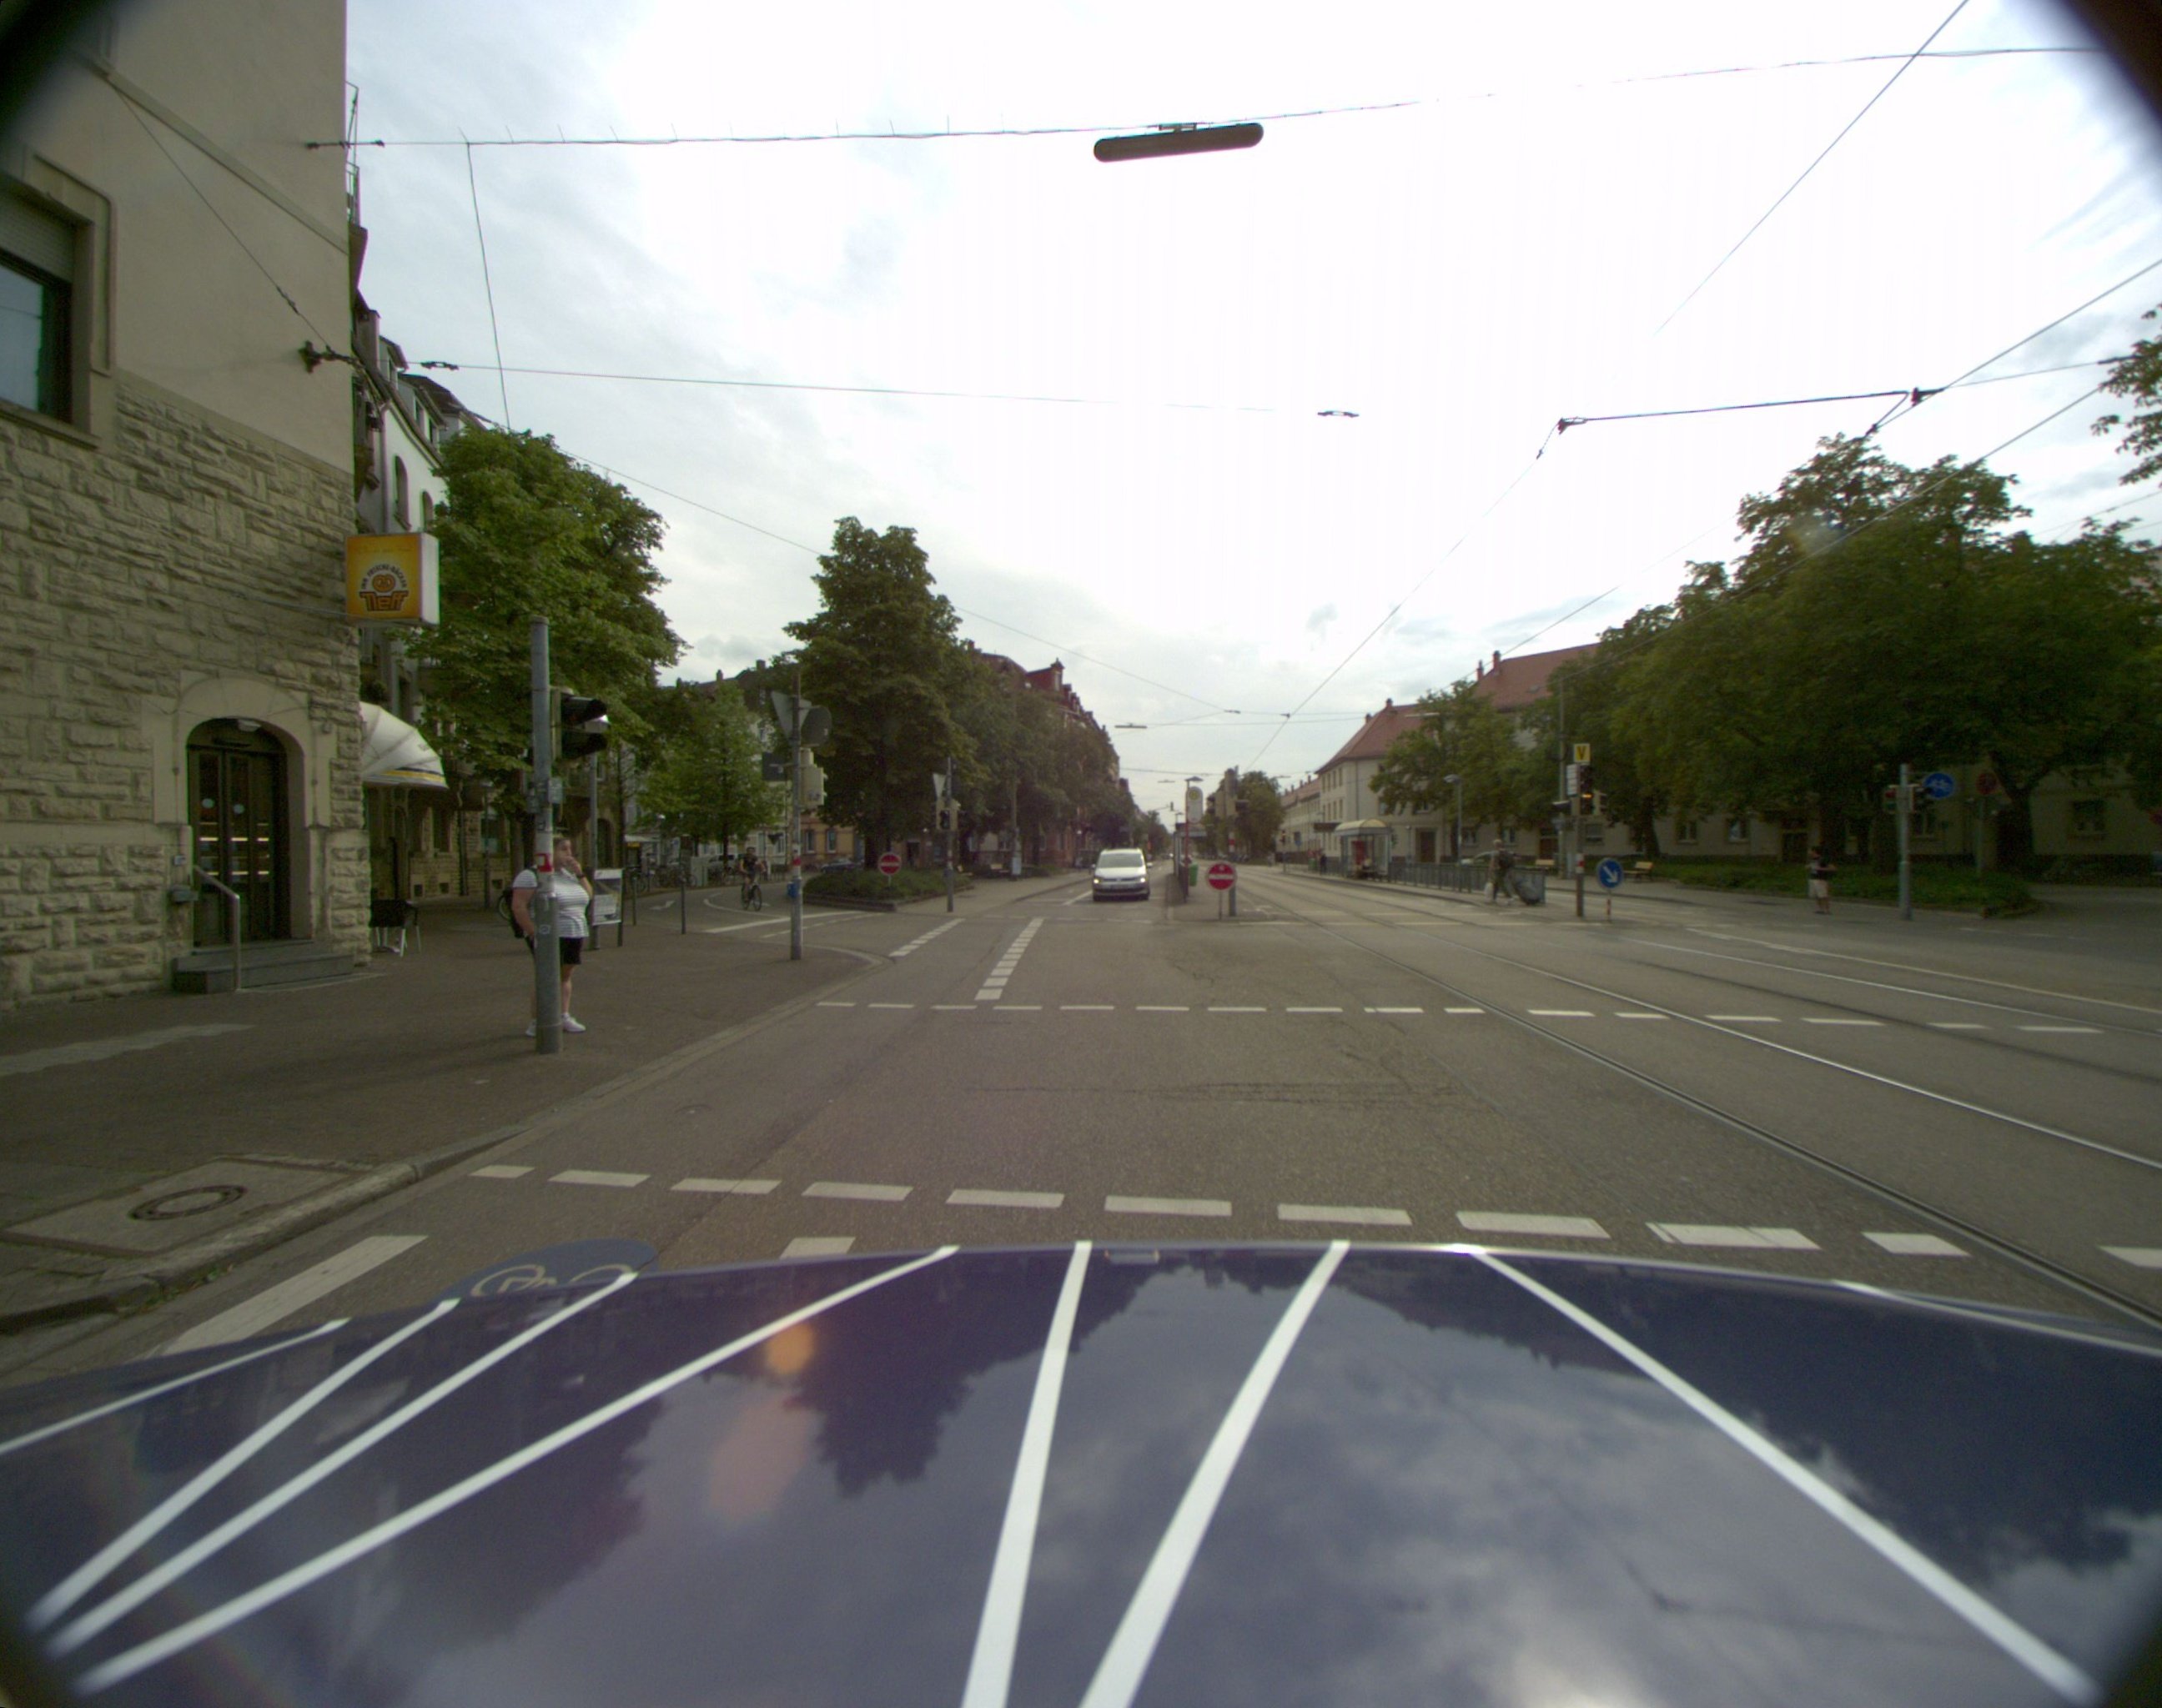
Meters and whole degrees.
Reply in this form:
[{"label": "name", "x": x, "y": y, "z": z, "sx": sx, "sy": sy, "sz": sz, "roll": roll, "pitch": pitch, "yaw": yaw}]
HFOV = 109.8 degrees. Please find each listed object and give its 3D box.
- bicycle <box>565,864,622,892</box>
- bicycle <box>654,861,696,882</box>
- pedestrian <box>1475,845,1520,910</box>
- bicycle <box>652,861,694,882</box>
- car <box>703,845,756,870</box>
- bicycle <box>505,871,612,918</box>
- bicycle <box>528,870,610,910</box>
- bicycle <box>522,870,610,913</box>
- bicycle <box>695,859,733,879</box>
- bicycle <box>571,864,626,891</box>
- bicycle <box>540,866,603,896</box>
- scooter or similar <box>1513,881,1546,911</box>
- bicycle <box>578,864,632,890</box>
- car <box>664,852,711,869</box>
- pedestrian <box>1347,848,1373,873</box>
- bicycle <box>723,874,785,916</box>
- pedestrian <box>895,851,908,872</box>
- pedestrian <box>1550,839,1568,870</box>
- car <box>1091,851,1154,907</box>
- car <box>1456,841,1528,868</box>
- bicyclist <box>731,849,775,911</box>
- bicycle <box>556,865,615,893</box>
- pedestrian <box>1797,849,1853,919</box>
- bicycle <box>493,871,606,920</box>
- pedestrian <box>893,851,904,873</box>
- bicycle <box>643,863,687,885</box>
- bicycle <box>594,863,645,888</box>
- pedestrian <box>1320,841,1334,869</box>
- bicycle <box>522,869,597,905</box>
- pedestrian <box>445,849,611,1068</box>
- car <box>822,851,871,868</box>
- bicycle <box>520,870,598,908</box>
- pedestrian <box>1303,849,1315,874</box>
[{"label": "bicycle", "x": -18.952, "y": 0.935, "z": 29.571, "sx": 1.795, "sy": 1.032, "sz": 0.482, "roll": 0, "pitch": 0, "yaw": -22}, {"label": "bicycle", "x": -20.384, "y": 0.892, "z": 38.136, "sx": 1.793, "sy": 1.032, "sz": 0.482, "roll": -1, "pitch": 0, "yaw": -6}, {"label": "pedestrian", "x": 11.024, "y": 0.613, "z": 20.134, "sx": 0.686, "sy": 1.680, "sz": 0.813, "roll": -1, "pitch": 1, "yaw": -32}, {"label": "bicycle", "x": -20.074, "y": 0.864, "z": 37.400, "sx": 1.793, "sy": 1.032, "sz": 0.482, "roll": -1, "pitch": 0, "yaw": -6}, {"label": "car", "x": -31.491, "y": 0.328, "z": 68.115, "sx": 4.534, "sy": 2.104, "sz": 1.742, "roll": -1, "pitch": 1, "yaw": 25}, {"label": "bicycle", "x": -12.445, "y": 0.933, "z": 18.158, "sx": 0.481, "sy": 1.032, "sz": 2.053, "roll": -1, "pitch": -1, "yaw": 37}, {"label": "bicycle", "x": -14.037, "y": 0.962, "z": 20.852, "sx": 0.481, "sy": 1.032, "sz": 1.797, "roll": -1, "pitch": -1, "yaw": 43}, {"label": "bicycle", "x": -13.147, "y": 0.947, "z": 19.427, "sx": 0.481, "sy": 1.032, "sz": 1.797, "roll": -1, "pitch": -1, "yaw": 43}, {"label": "bicycle", "x": -19.840, "y": 0.810, "z": 41.135, "sx": 1.793, "sy": 1.032, "sz": 0.482, "roll": -1, "pitch": 0, "yaw": -6}, {"label": "bicycle", "x": -19.219, "y": 0.931, "z": 30.317, "sx": 1.795, "sy": 1.032, "sz": 0.482, "roll": 0, "pitch": 0, "yaw": -22}, {"label": "bicycle", "x": -18.045, "y": 0.950, "z": 26.933, "sx": 1.795, "sy": 1.032, "sz": 0.482, "roll": 0, "pitch": 0, "yaw": -22}, {"label": "scooter or similar", "x": 11.570, "y": 1.076, "z": 19.608, "sx": 0.669, "sy": 0.708, "sz": 0.605, "roll": 0, "pitch": 1, "yaw": 38}, {"label": "bicycle", "x": -19.436, "y": 0.925, "z": 31.028, "sx": 1.795, "sy": 1.032, "sz": 0.482, "roll": 0, "pitch": 0, "yaw": -22}, {"label": "car", "x": -36.579, "y": 0.645, "z": 70.619, "sx": 3.949, "sy": 1.464, "sz": 1.742, "roll": -1, "pitch": 1, "yaw": 25}, {"label": "pedestrian", "x": 14.146, "y": 0.314, "z": 38.515, "sx": 1.032, "sy": 1.229, "sz": 0.724, "roll": -2, "pitch": 1, "yaw": 5}, {"label": "bicycle", "x": -9.292, "y": 1.117, "z": 21.500, "sx": 0.888, "sy": 1.039, "sz": 3.088, "roll": -1, "pitch": 1, "yaw": -38}, {"label": "pedestrian", "x": -14.418, "y": 0.611, "z": 60.967, "sx": 0.789, "sy": 1.684, "sz": 0.779, "roll": 0, "pitch": 1, "yaw": 4}, {"label": "pedestrian", "x": 31.363, "y": 0.049, "z": 49.865, "sx": 0.862, "sy": 2.002, "sz": 0.766, "roll": -1, "pitch": 1, "yaw": 41}, {"label": "car", "x": 1.496, "y": 0.778, "z": 25.851, "sx": 1.766, "sy": 1.661, "sz": 4.331, "roll": -2, "pitch": 0, "yaw": 7}, {"label": "car", "x": 29.503, "y": 0.043, "z": 54.581, "sx": 4.187, "sy": 1.854, "sz": 1.857, "roll": -1, "pitch": 1, "yaw": 41}, {"label": "bicyclist", "x": -9.247, "y": 0.703, "z": 21.411, "sx": 0.841, "sy": 1.680, "sz": 1.243, "roll": -1, "pitch": 0, "yaw": -37}, {"label": "bicycle", "x": -18.625, "y": 0.935, "z": 28.575, "sx": 1.795, "sy": 1.032, "sz": 0.482, "roll": 0, "pitch": 0, "yaw": -22}, {"label": "pedestrian", "x": 18.314, "y": 0.723, "z": 18.719, "sx": 0.654, "sy": 1.681, "sz": 0.712, "roll": 0, "pitch": 1, "yaw": 3}, {"label": "bicycle", "x": -12.089, "y": 0.924, "z": 17.349, "sx": 0.481, "sy": 1.032, "sz": 2.053, "roll": -1, "pitch": -1, "yaw": 37}, {"label": "pedestrian", "x": -14.400, "y": 0.629, "z": 59.948, "sx": 0.612, "sy": 1.684, "sz": 0.641, "roll": 0, "pitch": 1, "yaw": 2}, {"label": "bicycle", "x": -20.022, "y": 0.962, "z": 36.613, "sx": 1.793, "sy": 1.032, "sz": 0.482, "roll": -1, "pitch": 0, "yaw": -6}, {"label": "bicycle", "x": -19.698, "y": 0.923, "z": 32.471, "sx": 1.795, "sy": 1.032, "sz": 0.482, "roll": 0, "pitch": 0, "yaw": -22}, {"label": "pedestrian", "x": 15.011, "y": 0.068, "z": 46.376, "sx": 0.588, "sy": 1.694, "sz": 0.619, "roll": -2, "pitch": 1, "yaw": 3}, {"label": "bicycle", "x": -15.748, "y": 0.991, "z": 22.972, "sx": 1.797, "sy": 1.032, "sz": 0.481, "roll": 0, "pitch": -1, "yaw": -41}, {"label": "pedestrian", "x": -4.503, "y": 0.802, "z": 6.240, "sx": 0.721, "sy": 1.651, "sz": 0.759, "roll": 4, "pitch": 1, "yaw": 3}, {"label": "car", "x": -18.861, "y": 0.481, "z": 61.062, "sx": 3.580, "sy": 1.259, "sz": 1.742, "roll": -1, "pitch": 1, "yaw": 30}, {"label": "bicycle", "x": -14.957, "y": 0.982, "z": 21.813, "sx": 1.797, "sy": 1.032, "sz": 0.481, "roll": 0, "pitch": -1, "yaw": -41}, {"label": "pedestrian", "x": 16.770, "y": 0.526, "z": 55.820, "sx": 0.658, "sy": 1.824, "sz": 0.464, "roll": -2, "pitch": 1, "yaw": -7}]
